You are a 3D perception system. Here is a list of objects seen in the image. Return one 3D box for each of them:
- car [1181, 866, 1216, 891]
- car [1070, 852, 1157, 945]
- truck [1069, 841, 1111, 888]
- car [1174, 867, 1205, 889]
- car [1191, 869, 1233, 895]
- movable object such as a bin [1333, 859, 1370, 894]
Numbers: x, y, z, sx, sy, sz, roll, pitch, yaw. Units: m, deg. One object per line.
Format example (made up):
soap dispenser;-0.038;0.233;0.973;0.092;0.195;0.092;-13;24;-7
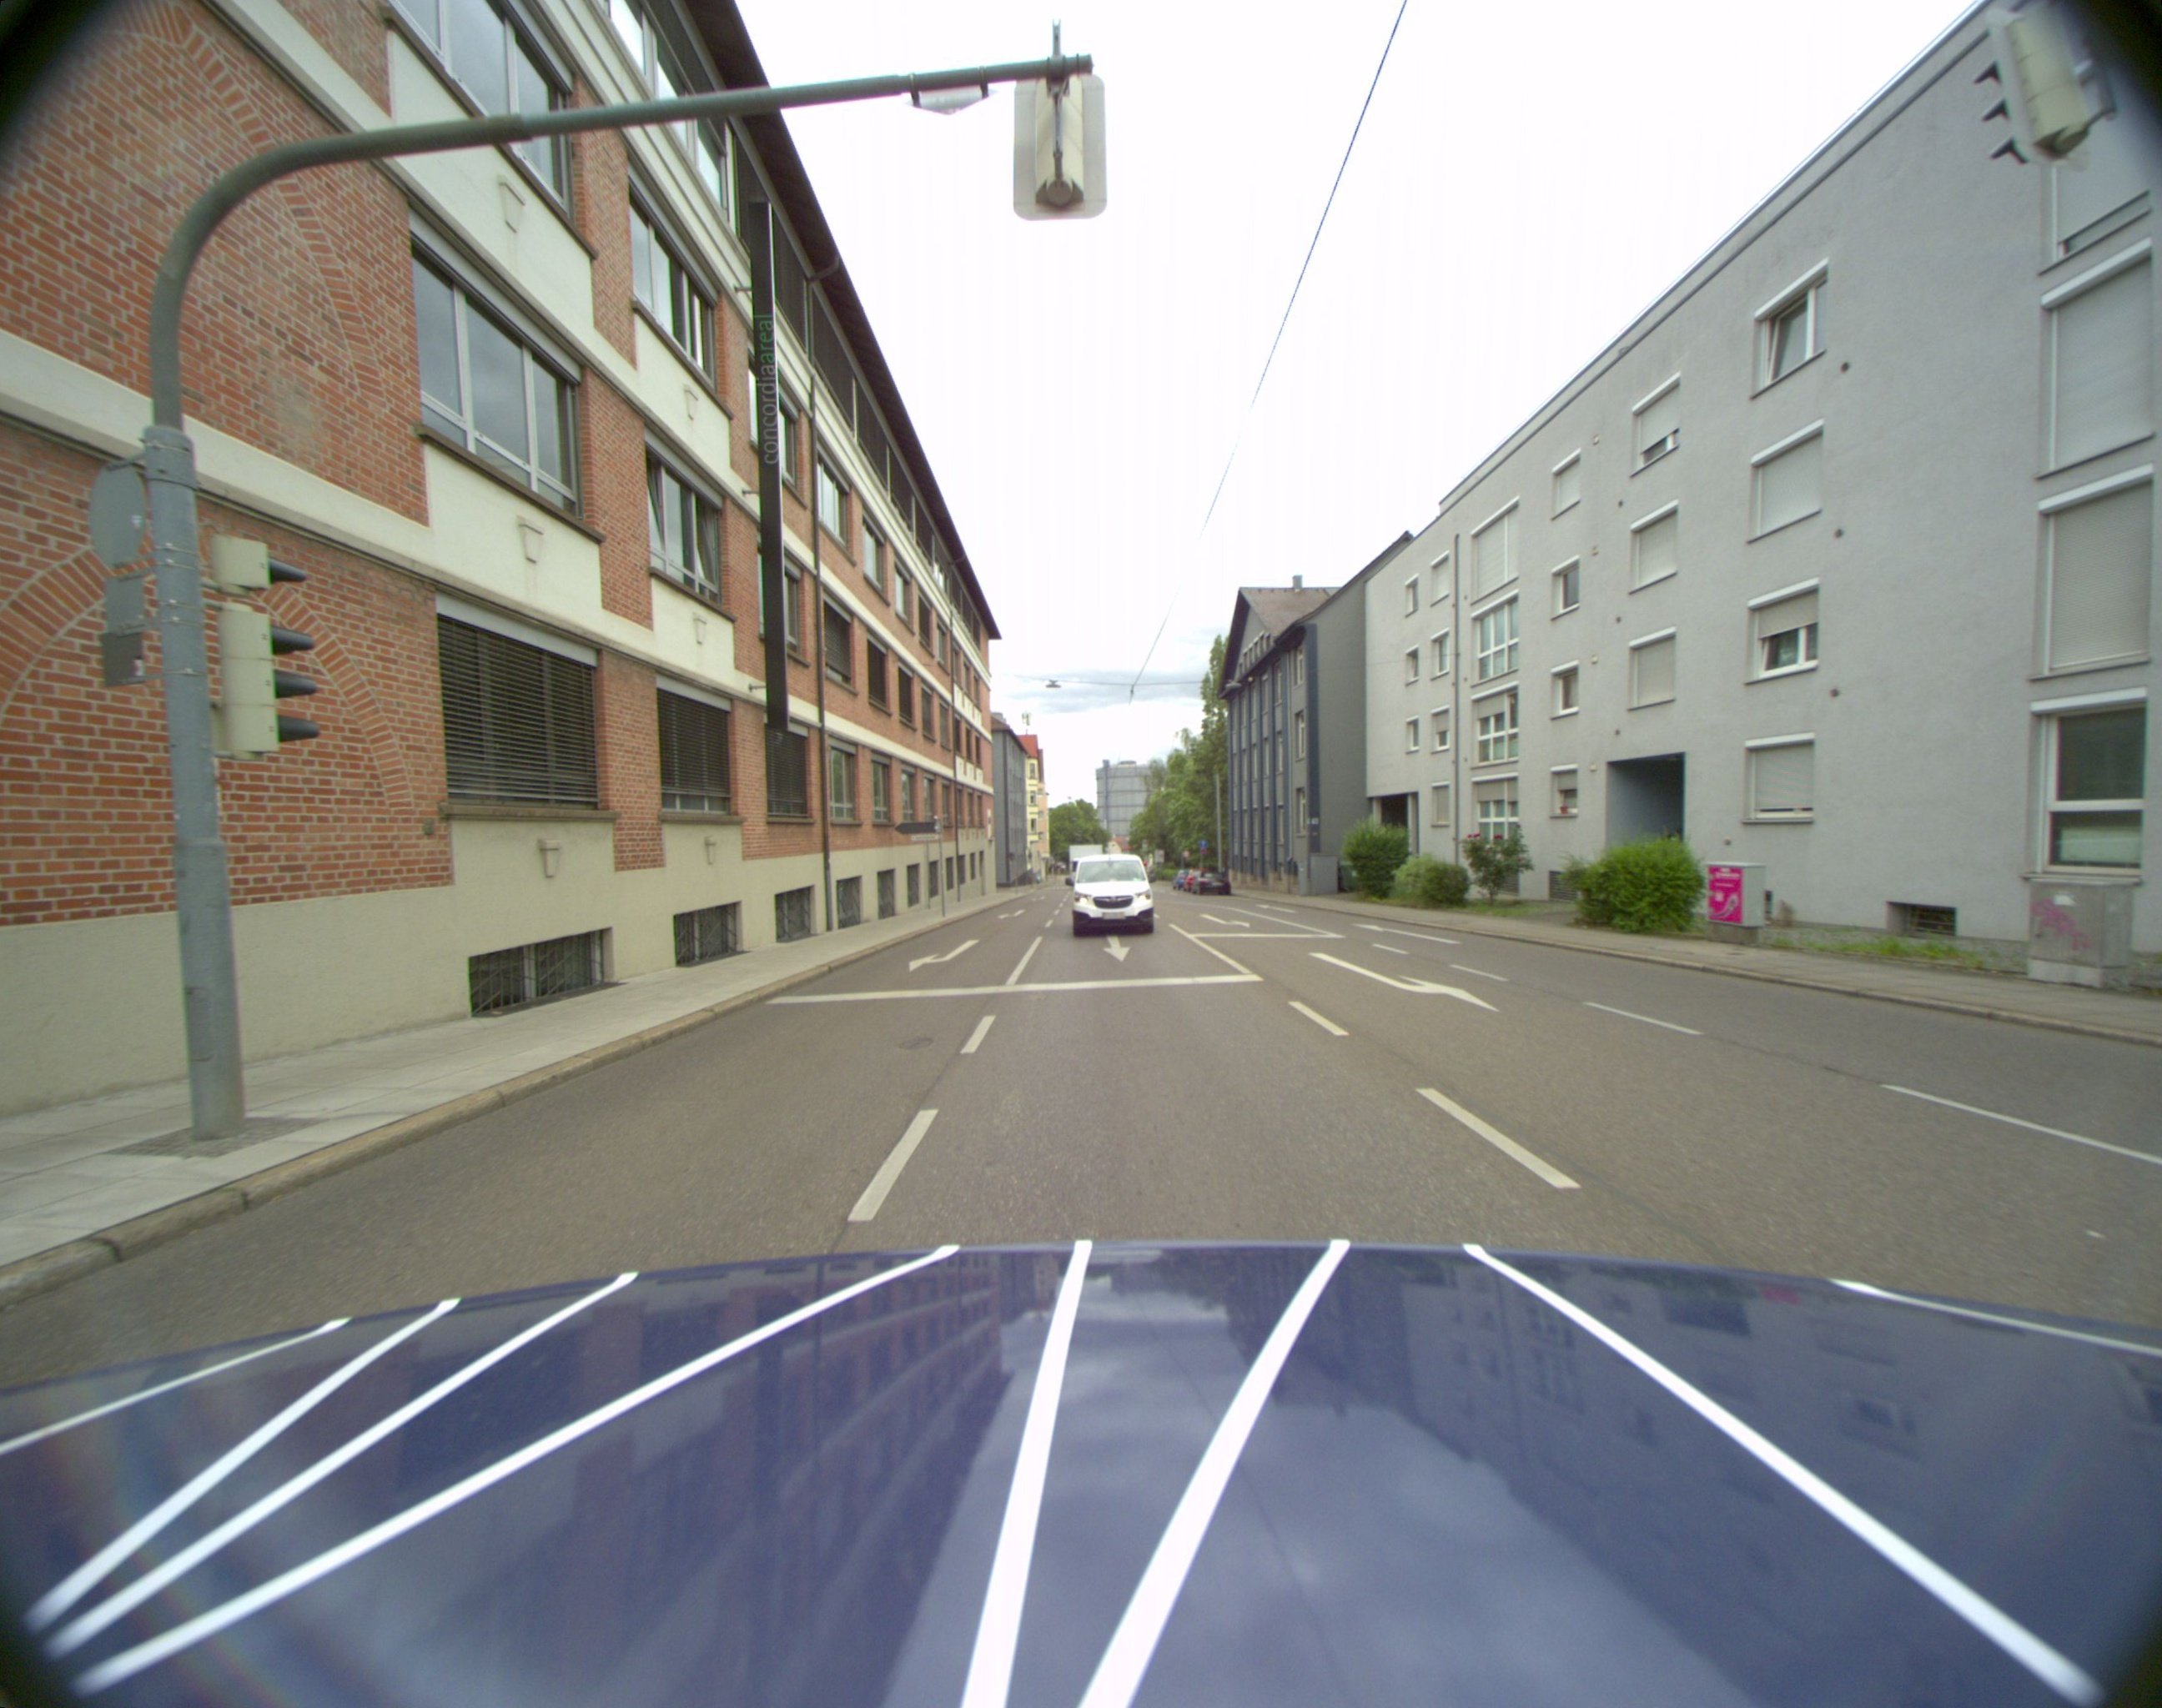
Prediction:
car;7.679;1.577;49.925;1.644;1.440;3.729;-3;-1;1
car;0.698;0.953;17.877;1.739;1.875;4.000;-3;-1;1
truck;0.701;0.815;61.069;2.969;3.408;8.881;-3;-1;1
car;7.807;1.699;55.012;1.644;1.440;3.729;-3;-1;1
car;7.461;1.596;43.731;1.801;1.384;3.729;-1;-1;1
movable object such as a bin;12.296;1.004;34.581;1.229;1.497;1.040;-3;0;1
